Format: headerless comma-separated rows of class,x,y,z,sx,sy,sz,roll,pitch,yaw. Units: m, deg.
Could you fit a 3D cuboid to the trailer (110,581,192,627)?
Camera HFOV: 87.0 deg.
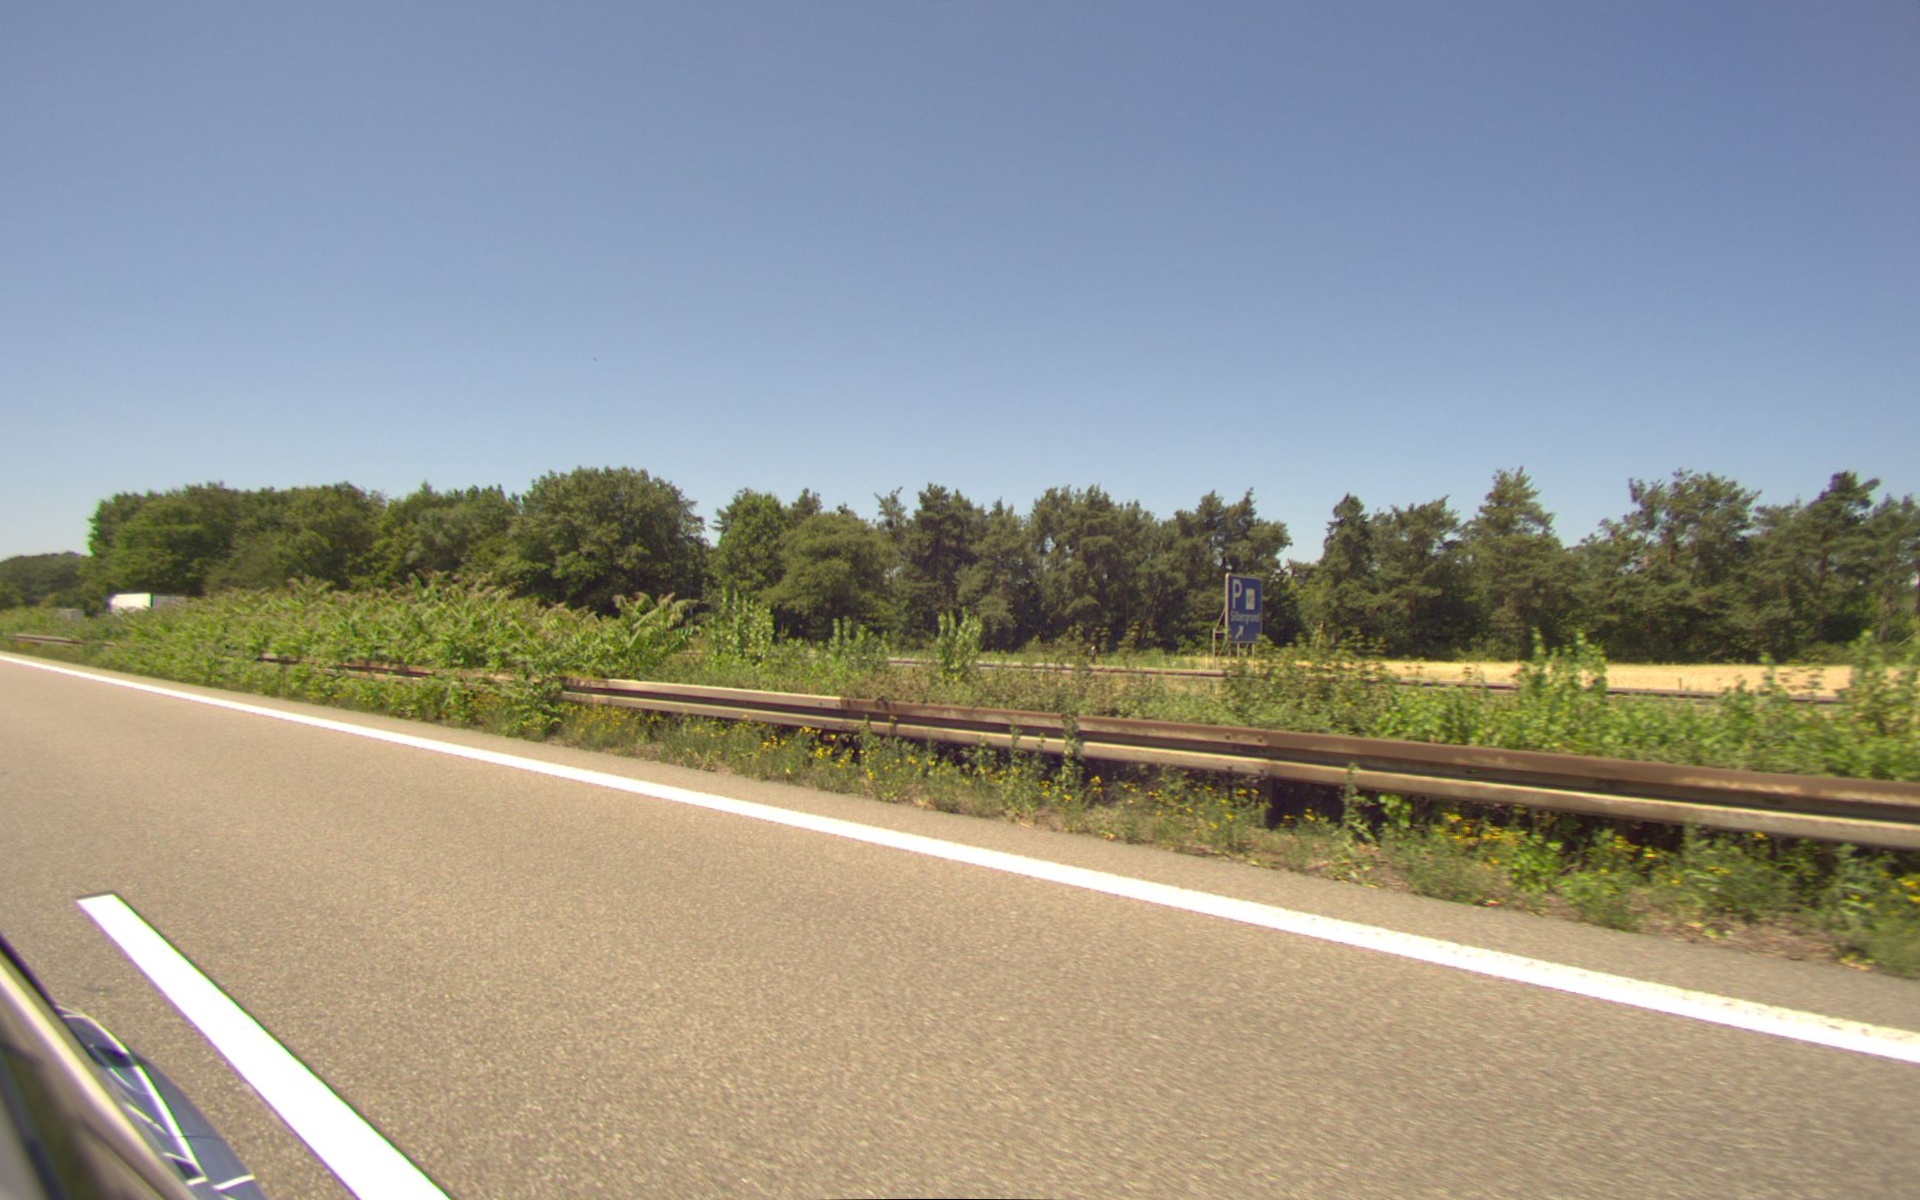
trailer,-71.129,0.411,88.790,14.375,3.726,3.146,-1,0,41
